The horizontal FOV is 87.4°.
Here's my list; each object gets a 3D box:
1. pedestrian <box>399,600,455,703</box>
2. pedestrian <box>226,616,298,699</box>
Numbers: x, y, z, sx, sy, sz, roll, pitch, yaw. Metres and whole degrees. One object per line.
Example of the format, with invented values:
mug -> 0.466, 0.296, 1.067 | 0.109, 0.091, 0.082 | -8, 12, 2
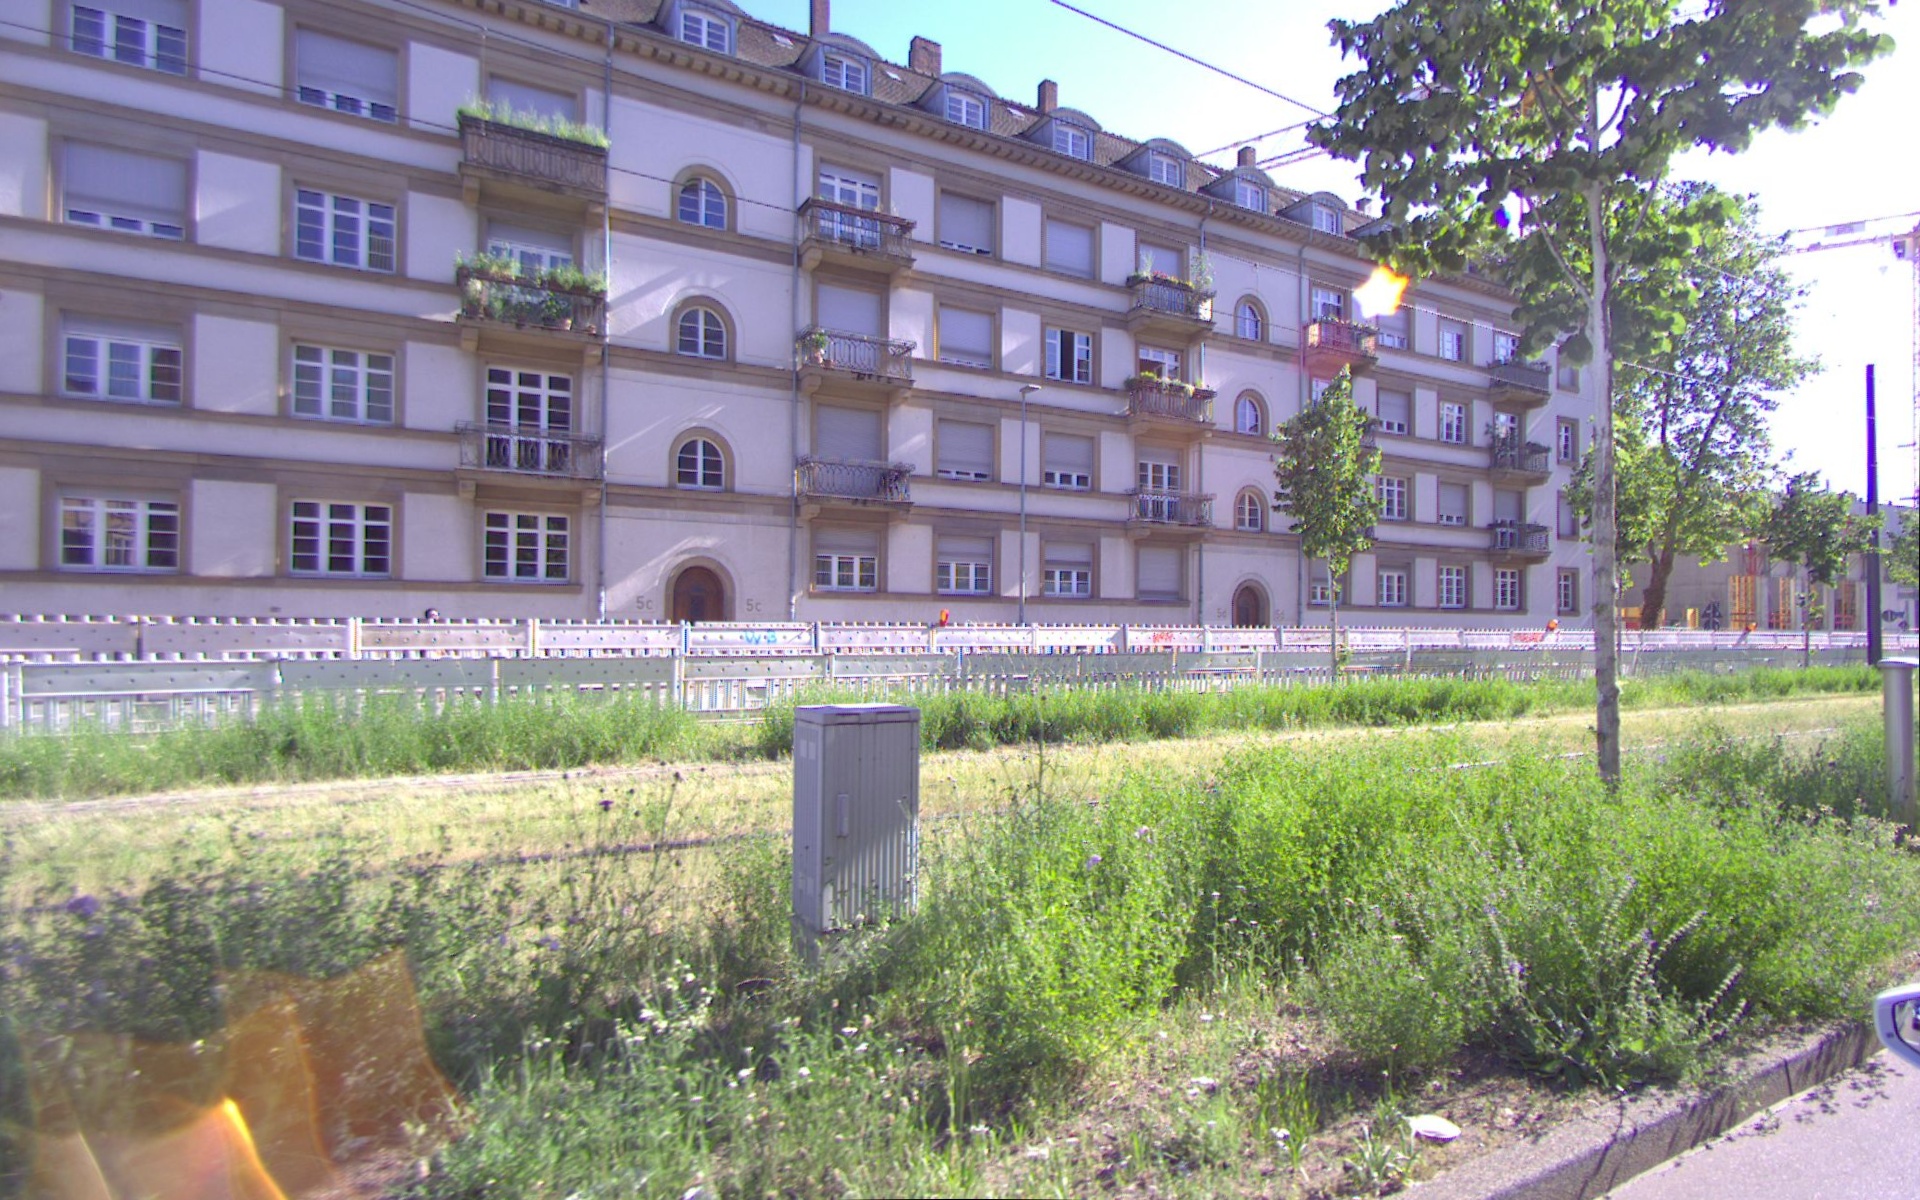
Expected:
pedestrian -> -10.108, 0.962, 19.046 | 0.861, 1.888, 0.763 | 2, -1, -30
pedestrian -> -13.343, 1.086, 19.231 | 1.009, 1.538, 0.783 | 2, -1, -30
